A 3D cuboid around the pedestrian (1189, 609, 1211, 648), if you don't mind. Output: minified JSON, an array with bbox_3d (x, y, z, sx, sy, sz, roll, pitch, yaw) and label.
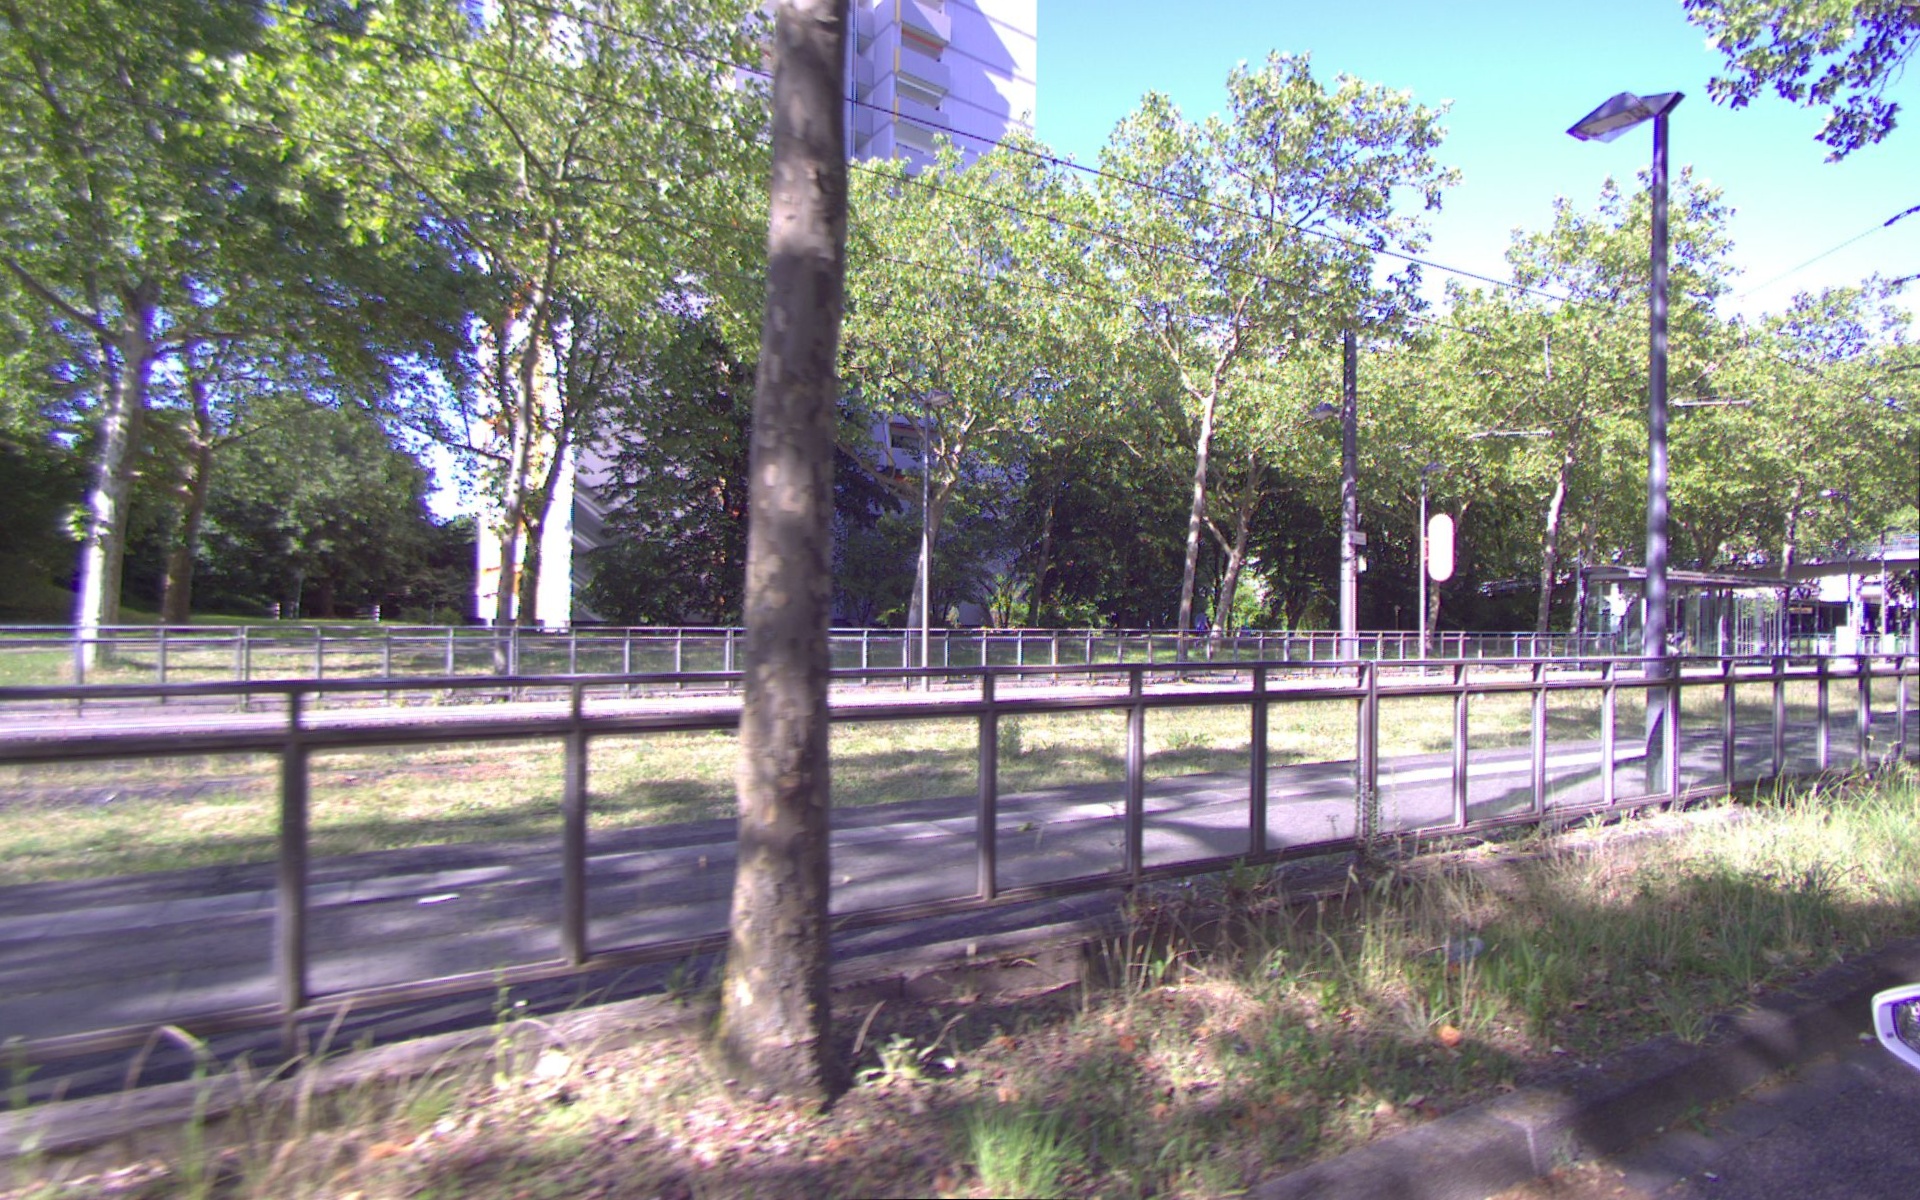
[{"bbox_3d":[10.363,1.237,43.419,0.642,1.683,0.645,1,0,-29],"label":"pedestrian"}]

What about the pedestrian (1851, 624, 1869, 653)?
[{"bbox_3d":[52.354,2.241,58.402,0.643,1.683,0.644,1,-1,-34],"label":"pedestrian"}]

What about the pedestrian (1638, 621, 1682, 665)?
[{"bbox_3d":[19.576,1.192,28.088,0.754,1.199,0.762,1,0,-29],"label":"pedestrian"}]

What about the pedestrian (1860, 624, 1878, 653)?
[{"bbox_3d":[53.085,2.250,58.688,0.643,1.683,0.644,1,-1,-34],"label":"pedestrian"}]
